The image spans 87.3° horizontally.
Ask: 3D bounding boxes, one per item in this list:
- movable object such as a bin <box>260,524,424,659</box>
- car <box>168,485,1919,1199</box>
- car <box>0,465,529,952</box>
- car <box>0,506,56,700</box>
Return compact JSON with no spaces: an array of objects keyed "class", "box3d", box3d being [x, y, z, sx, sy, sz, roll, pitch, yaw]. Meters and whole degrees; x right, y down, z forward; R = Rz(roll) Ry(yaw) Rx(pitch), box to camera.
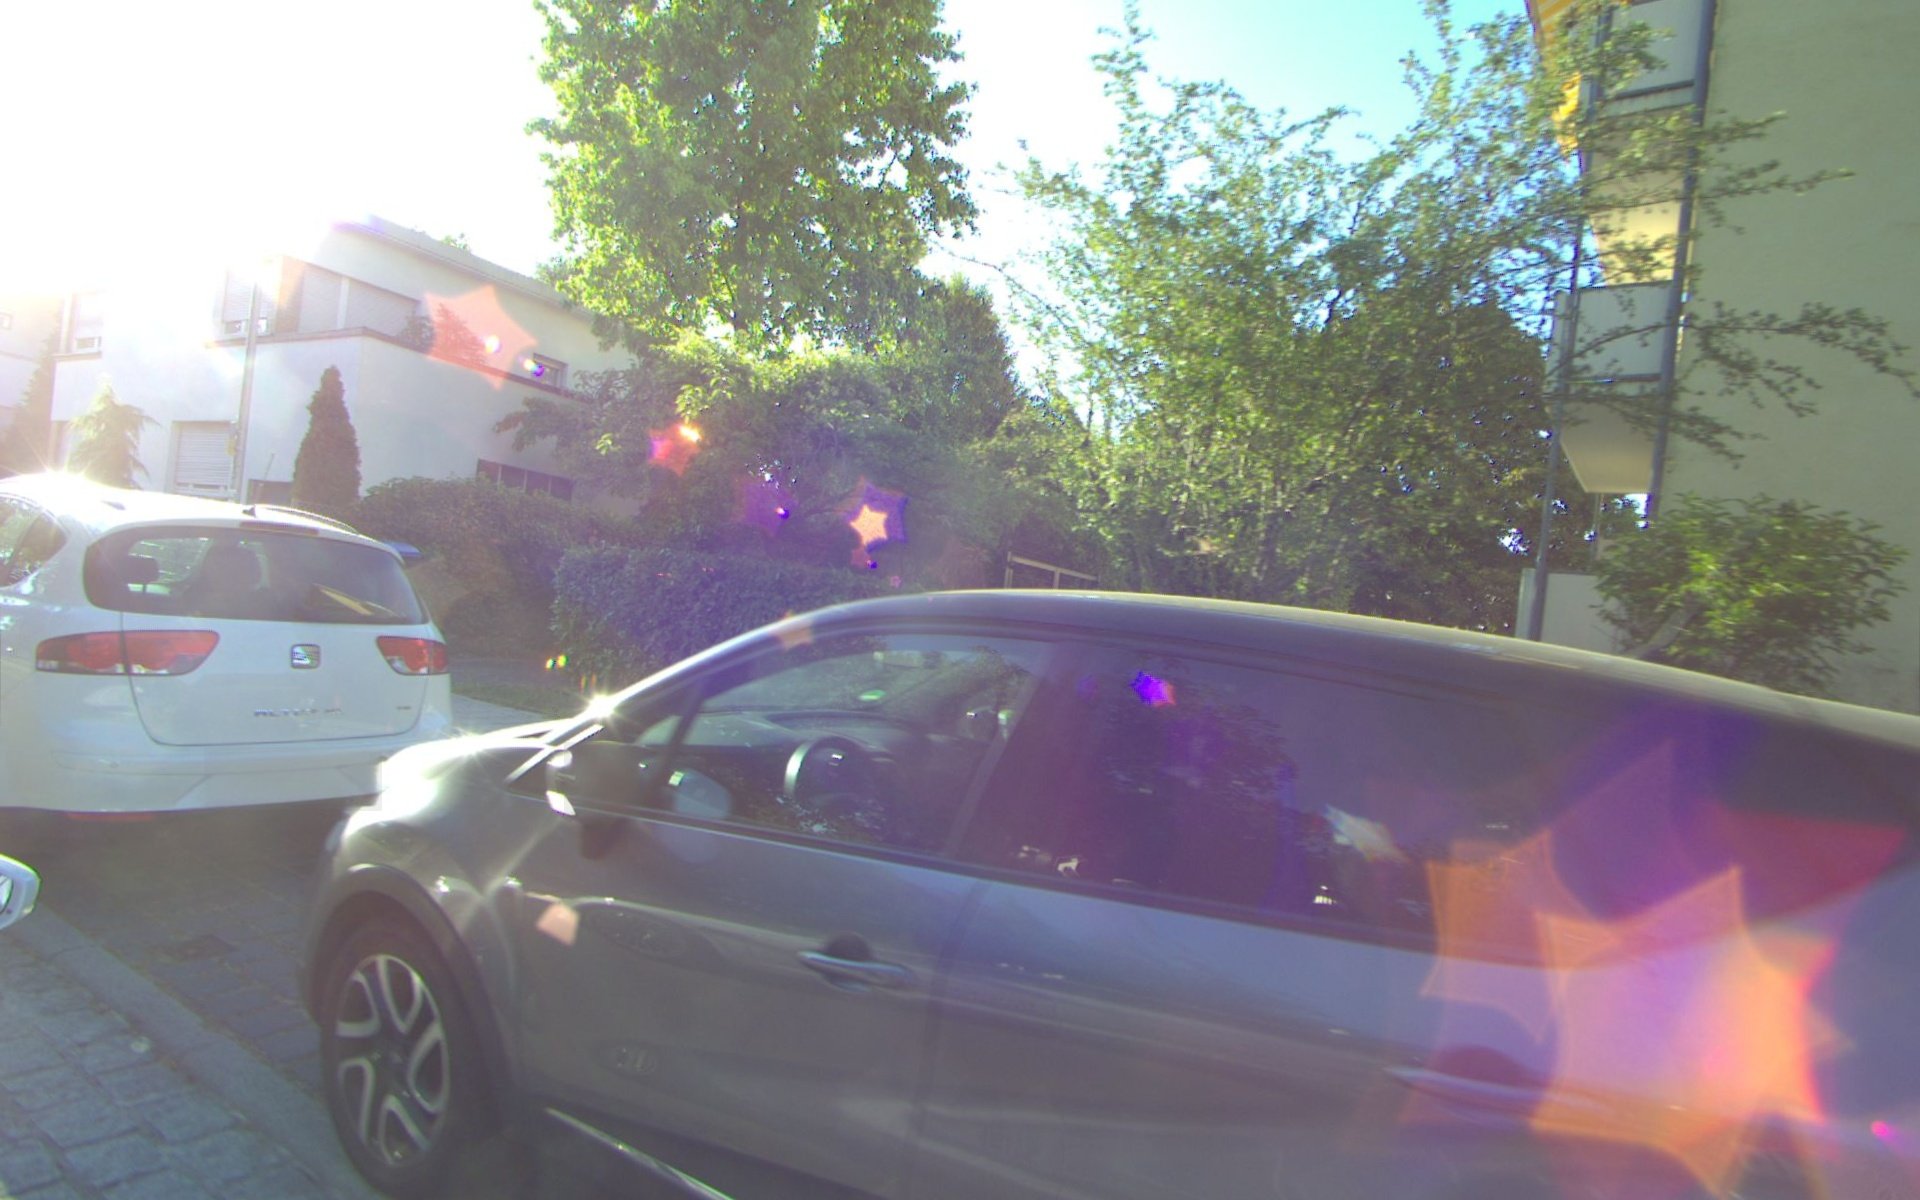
[{"class":"movable object such as a bin","box3d":[-7.582,-0.092,12.372,1.105,1.449,1.239,6,-1,33]},{"class":"car","box3d":[0.029,0.703,2.442,4.075,1.575,1.680,6,0,31]},{"class":"car","box3d":[-4.215,0.233,5.073,4.063,1.575,1.680,6,0,33]},{"class":"car","box3d":[-9.058,-0.193,8.033,4.302,1.407,1.565,6,0,32]}]
